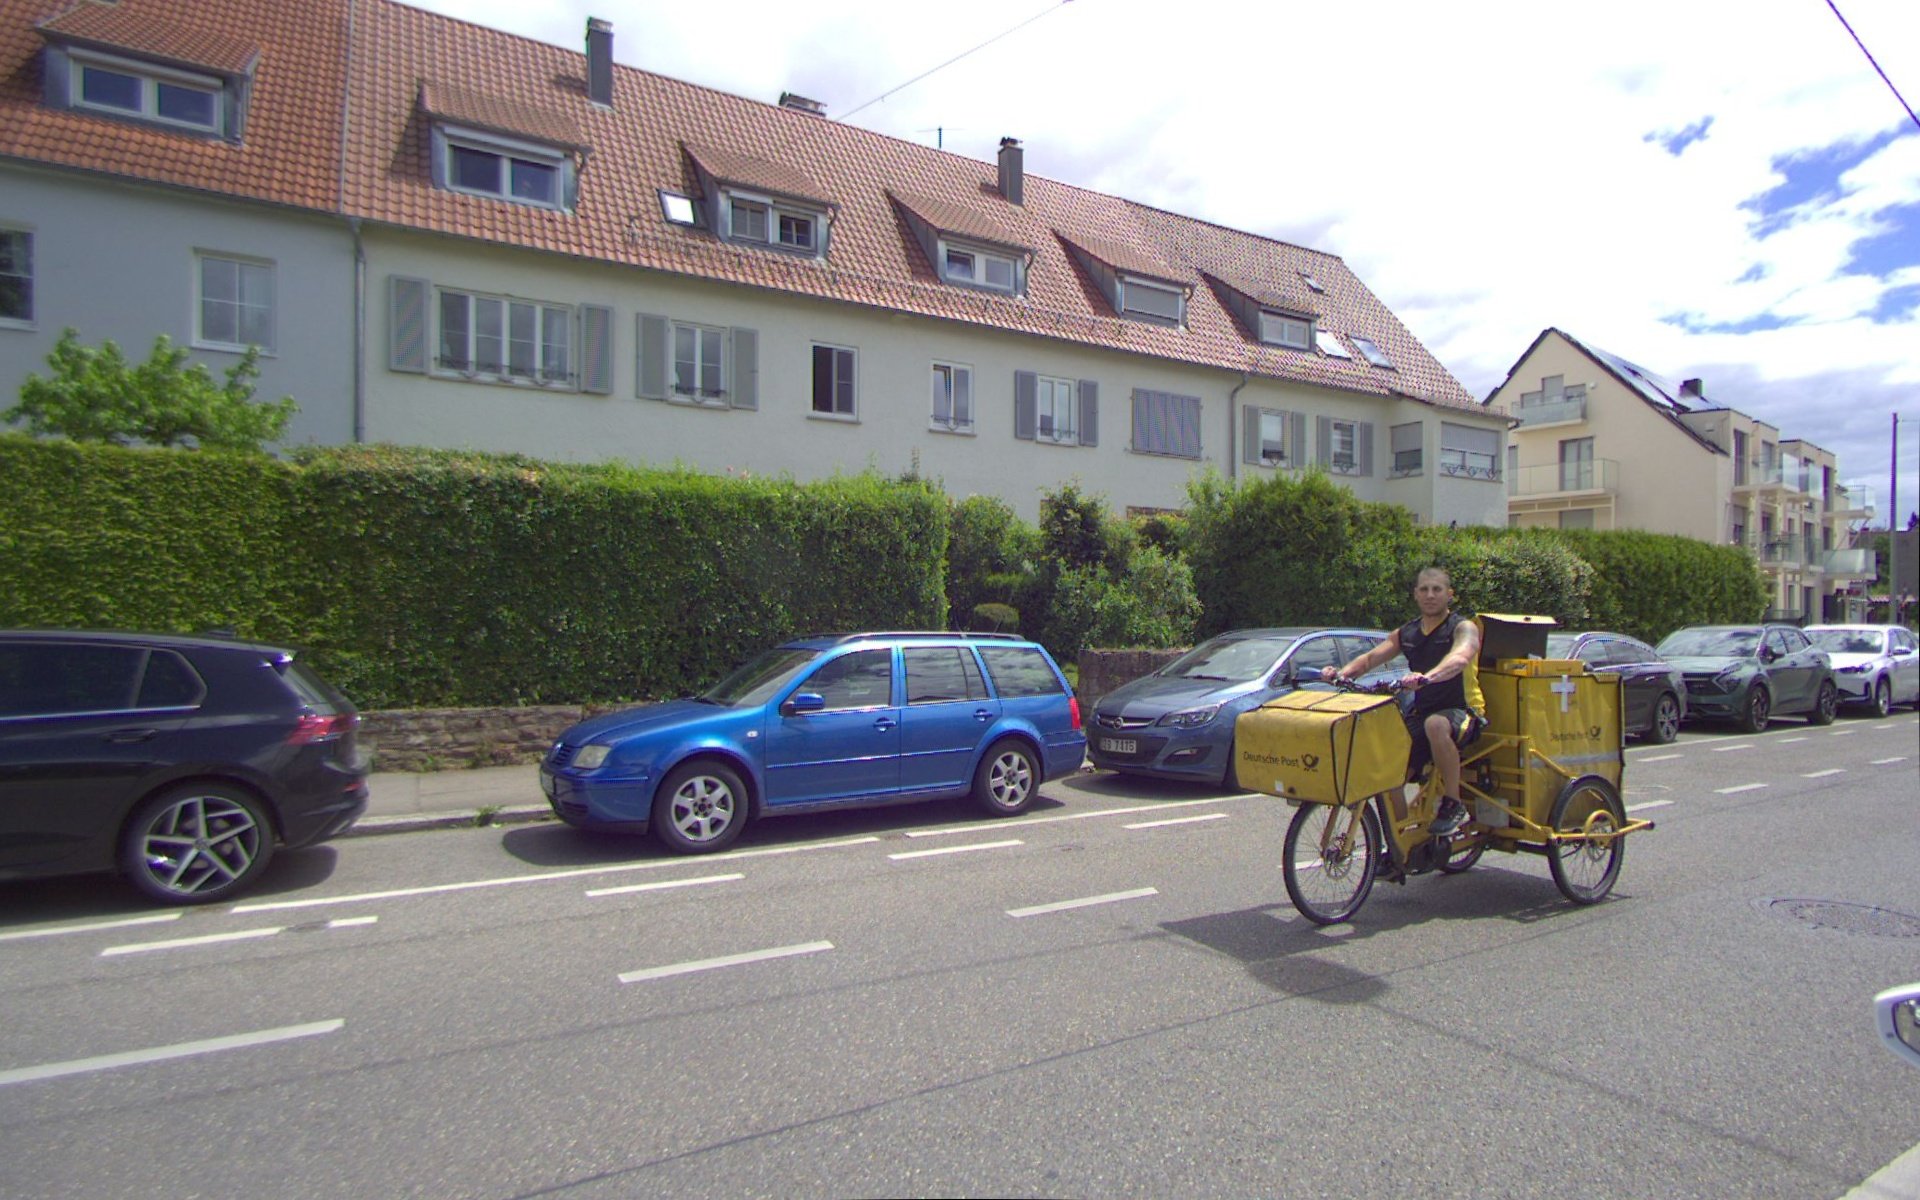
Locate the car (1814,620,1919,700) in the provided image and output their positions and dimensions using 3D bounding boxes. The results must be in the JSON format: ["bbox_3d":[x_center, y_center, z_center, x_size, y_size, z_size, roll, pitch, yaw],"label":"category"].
[{"bbox_3d":[20.866,1.324,22.175,4.443,1.608,1.981,3,-2,-34],"label":"car"}]

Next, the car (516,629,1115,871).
[{"bbox_3d":[-1.022,0.976,7.992,4.391,1.436,1.768,1,-1,-32],"label":"car"}]

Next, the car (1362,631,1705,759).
[{"bbox_3d":[7.745,1.154,13.461,4.635,1.427,1.984,1,-1,-31],"label":"car"}]

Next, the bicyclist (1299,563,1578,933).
[{"bbox_3d":[2.547,0.711,5.364,1.193,1.736,0.789,1,-1,-28],"label":"bicyclist"}]

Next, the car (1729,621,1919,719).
[{"bbox_3d":[16.868,1.260,19.257,4.468,1.672,1.982,1,-1,-33],"label":"car"}]

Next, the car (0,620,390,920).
[{"bbox_3d":[-5.526,0.830,5.371,4.289,1.436,1.769,1,-1,-30],"label":"car"}]

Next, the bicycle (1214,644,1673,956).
[{"bbox_3d":[2.648,0.911,5.375,2.629,1.319,0.860,1,-1,-29],"label":"bicycle"}]

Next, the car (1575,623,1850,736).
[{"bbox_3d":[12.324,1.203,16.386,4.635,1.584,1.984,1,-1,-31],"label":"car"}]

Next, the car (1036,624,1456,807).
[{"bbox_3d":[3.099,1.033,10.445,4.520,1.511,1.766,2,-1,-35],"label":"car"}]
